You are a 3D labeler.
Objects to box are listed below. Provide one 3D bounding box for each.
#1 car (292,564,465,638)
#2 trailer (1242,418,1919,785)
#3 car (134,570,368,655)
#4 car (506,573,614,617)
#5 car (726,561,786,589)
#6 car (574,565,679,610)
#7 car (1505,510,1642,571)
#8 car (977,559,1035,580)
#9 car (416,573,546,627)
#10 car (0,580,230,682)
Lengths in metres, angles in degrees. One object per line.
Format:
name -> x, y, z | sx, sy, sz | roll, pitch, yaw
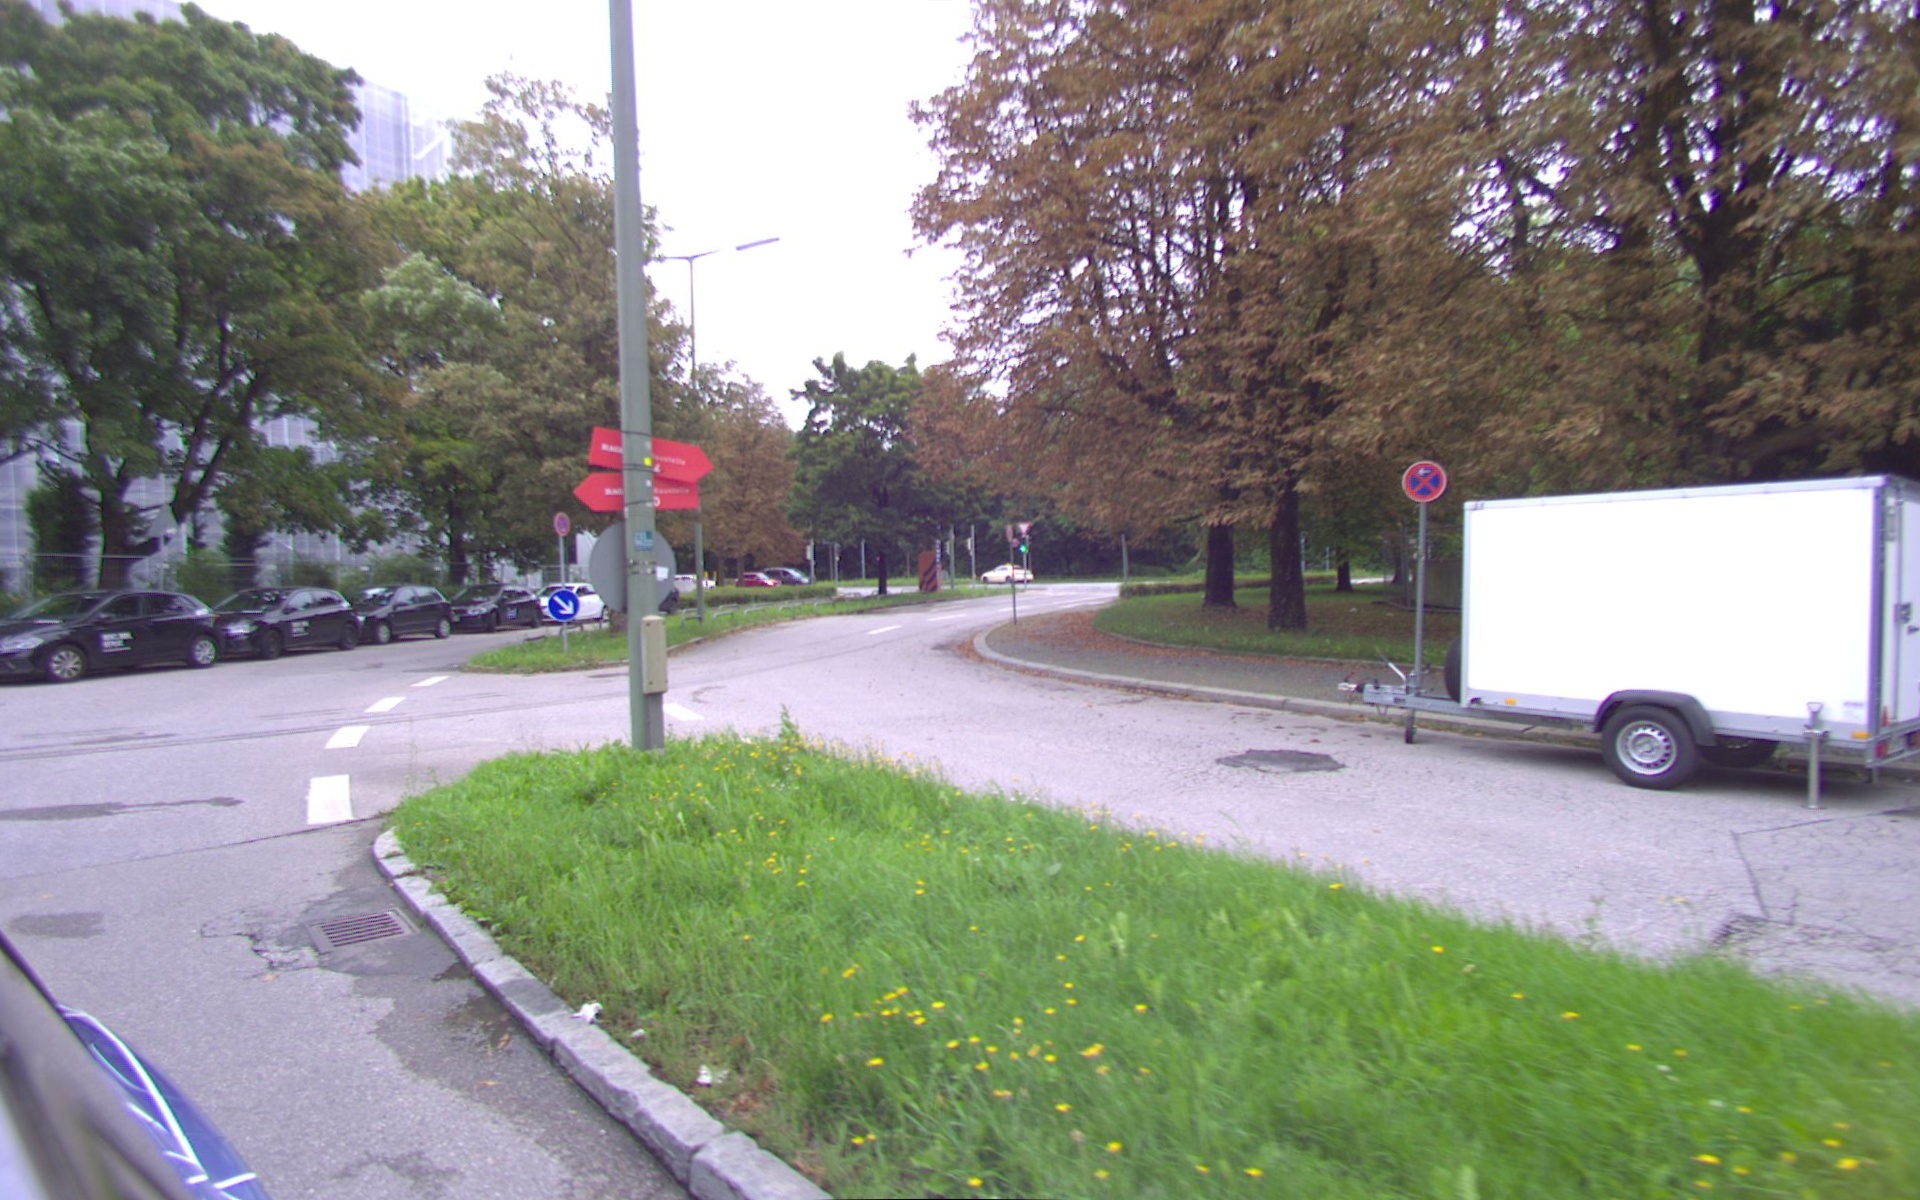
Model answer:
car -> -14.665, -0.031, 25.796 | 1.974, 1.718, 3.996 | 0, 1, 3
trailer -> 4.764, -0.024, 8.080 | 1.784, 2.028, 4.847 | -3, 1, -33
car -> -14.541, 0.190, 21.076 | 1.973, 1.552, 3.999 | -2, 1, 1
car -> -13.894, -0.217, 35.436 | 1.780, 1.394, 4.211 | -2, 1, 6
car -> -15.627, -1.946, 77.610 | 4.130, 2.028, 1.985 | -1, 2, 23
car -> -13.007, -0.464, 39.753 | 1.874, 1.618, 4.376 | -2, 0, 14
car -> 29.951, -2.862, 49.647 | 5.571, 2.754, 2.057 | 0, 2, 28
car -> 3.534, -2.346, 78.728 | 1.863, 1.557, 4.865 | -2, 2, -36
car -> -14.346, -0.055, 30.562 | 1.816, 1.471, 4.002 | -2, 1, 3
car -> -14.654, 0.408, 16.840 | 1.974, 1.443, 4.038 | 0, 2, 4
